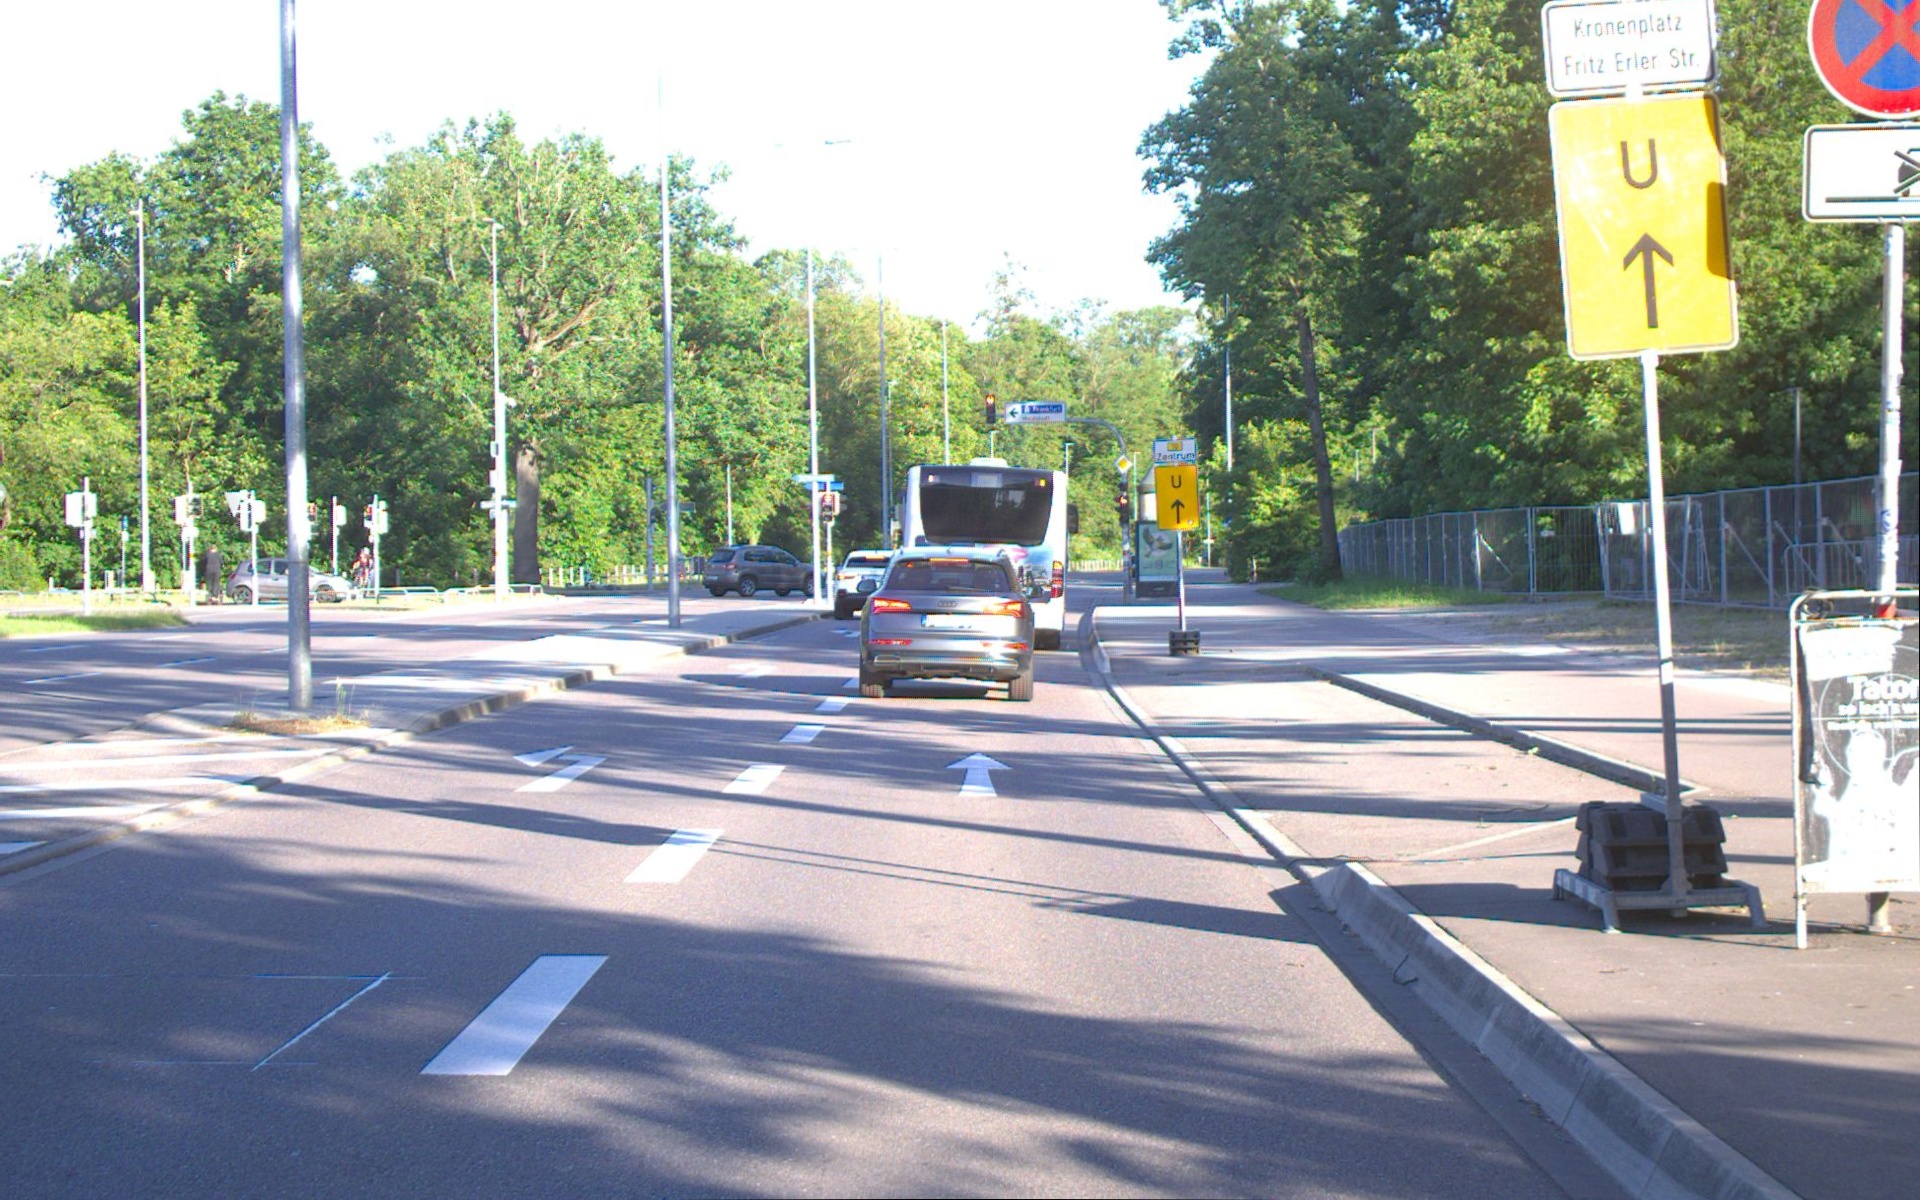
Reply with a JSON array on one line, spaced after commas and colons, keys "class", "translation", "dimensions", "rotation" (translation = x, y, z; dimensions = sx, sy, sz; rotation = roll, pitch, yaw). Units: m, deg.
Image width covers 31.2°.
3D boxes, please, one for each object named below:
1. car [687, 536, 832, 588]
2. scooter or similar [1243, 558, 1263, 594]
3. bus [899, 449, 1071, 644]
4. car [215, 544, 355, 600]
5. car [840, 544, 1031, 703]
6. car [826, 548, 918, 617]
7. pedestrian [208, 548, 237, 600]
[{"class": "car", "translation": [-6.555, -1.248, 112.581], "dimensions": [4.219, 1.579, 2.104], "rotation": [-2, 1, -37]}, {"class": "scooter or similar", "translation": [11.897, -0.975, 139.559], "dimensions": [0.508, 1.439, 2.023], "rotation": [-1, 1, -3]}, {"class": "bus", "translation": [0.538, -0.861, 58.001], "dimensions": [2.595, 2.979, 9.326], "rotation": [1, 0, 2]}, {"class": "car", "translation": [-21.112, -0.877, 107.588], "dimensions": [3.986, 1.634, 2.066], "rotation": [-1, 1, -1]}, {"class": "car", "translation": [-0.218, 0.213, 37.947], "dimensions": [1.898, 1.626, 4.000], "rotation": [1, 1, 2]}, {"class": "car", "translation": [-1.975, -0.423, 77.806], "dimensions": [1.836, 1.513, 4.000], "rotation": [0, 1, 2]}, {"class": "pedestrian", "translation": [-22.012, -0.773, 102.642], "dimensions": [0.647, 1.554, 0.539], "rotation": [-1, 1, -40]}]
